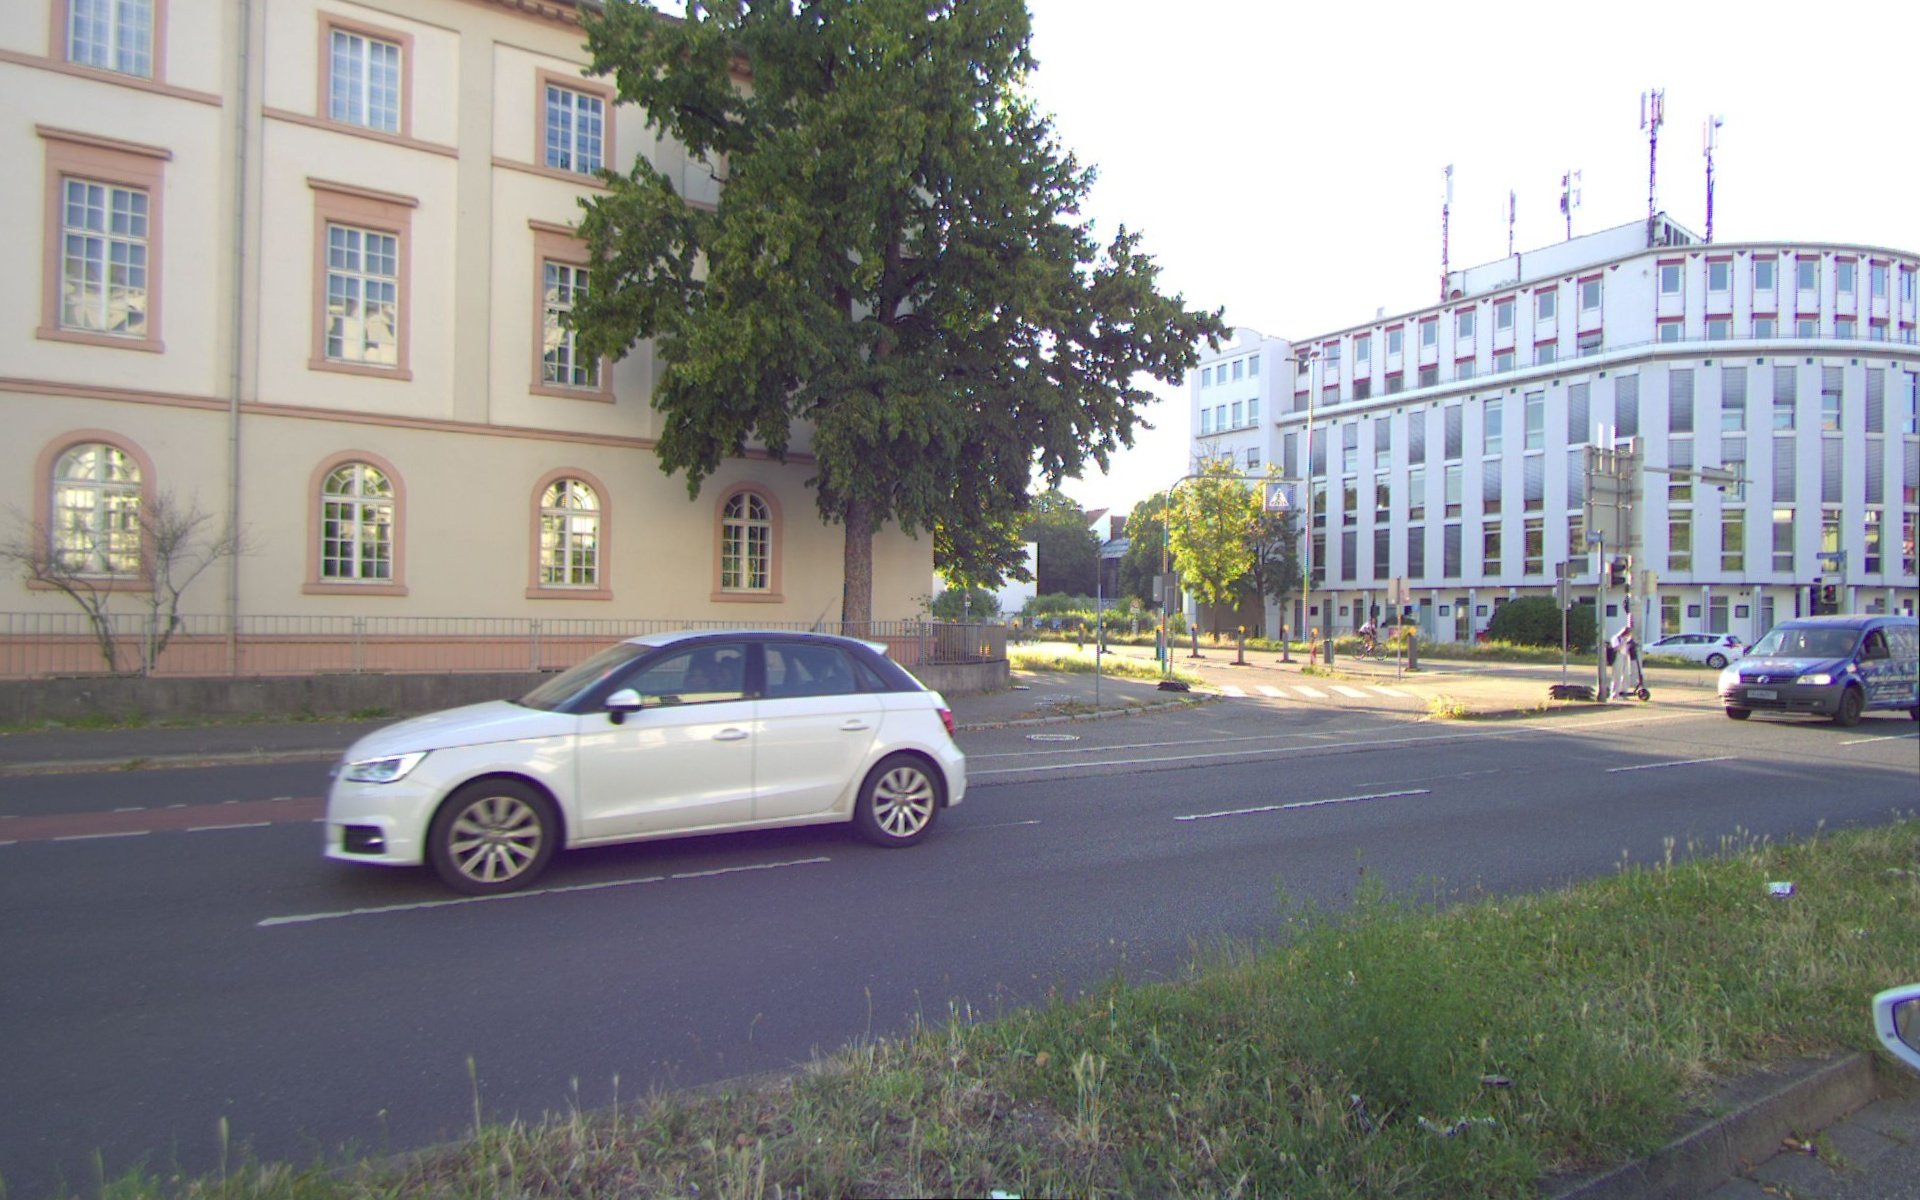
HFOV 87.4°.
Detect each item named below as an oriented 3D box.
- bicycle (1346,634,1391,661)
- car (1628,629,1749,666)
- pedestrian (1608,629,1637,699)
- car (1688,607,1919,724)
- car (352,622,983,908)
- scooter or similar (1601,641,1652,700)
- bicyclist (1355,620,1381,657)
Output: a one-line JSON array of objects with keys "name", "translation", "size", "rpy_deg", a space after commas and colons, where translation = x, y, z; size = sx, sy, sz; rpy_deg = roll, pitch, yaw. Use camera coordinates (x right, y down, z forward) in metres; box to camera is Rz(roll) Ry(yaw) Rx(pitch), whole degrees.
[{"name": "bicycle", "translation": [17.114, 1.978, 42.120], "size": [0.498, 1.056, 1.786], "rpy_deg": [1, -1, -35]}, {"name": "car", "translation": [30.034, 1.943, 41.506], "size": [1.634, 1.390, 3.757], "rpy_deg": [1, -1, -35]}, {"name": "pedestrian", "translation": [14.723, 1.406, 22.322], "size": [0.332, 1.525, 0.470], "rpy_deg": [1, -1, -41]}, {"name": "car", "translation": [14.957, 1.080, 17.539], "size": [4.175, 1.841, 1.986], "rpy_deg": [1, -1, -27]}, {"name": "car", "translation": [-1.826, 0.878, 6.610], "size": [3.643, 1.406, 1.683], "rpy_deg": [1, -2, -30]}, {"name": "scooter or similar", "translation": [14.751, 1.546, 22.239], "size": [0.368, 1.250, 0.885], "rpy_deg": [1, -1, -40]}, {"name": "bicyclist", "translation": [17.104, 1.601, 42.130], "size": [0.453, 1.516, 0.879], "rpy_deg": [1, -1, -36]}]
